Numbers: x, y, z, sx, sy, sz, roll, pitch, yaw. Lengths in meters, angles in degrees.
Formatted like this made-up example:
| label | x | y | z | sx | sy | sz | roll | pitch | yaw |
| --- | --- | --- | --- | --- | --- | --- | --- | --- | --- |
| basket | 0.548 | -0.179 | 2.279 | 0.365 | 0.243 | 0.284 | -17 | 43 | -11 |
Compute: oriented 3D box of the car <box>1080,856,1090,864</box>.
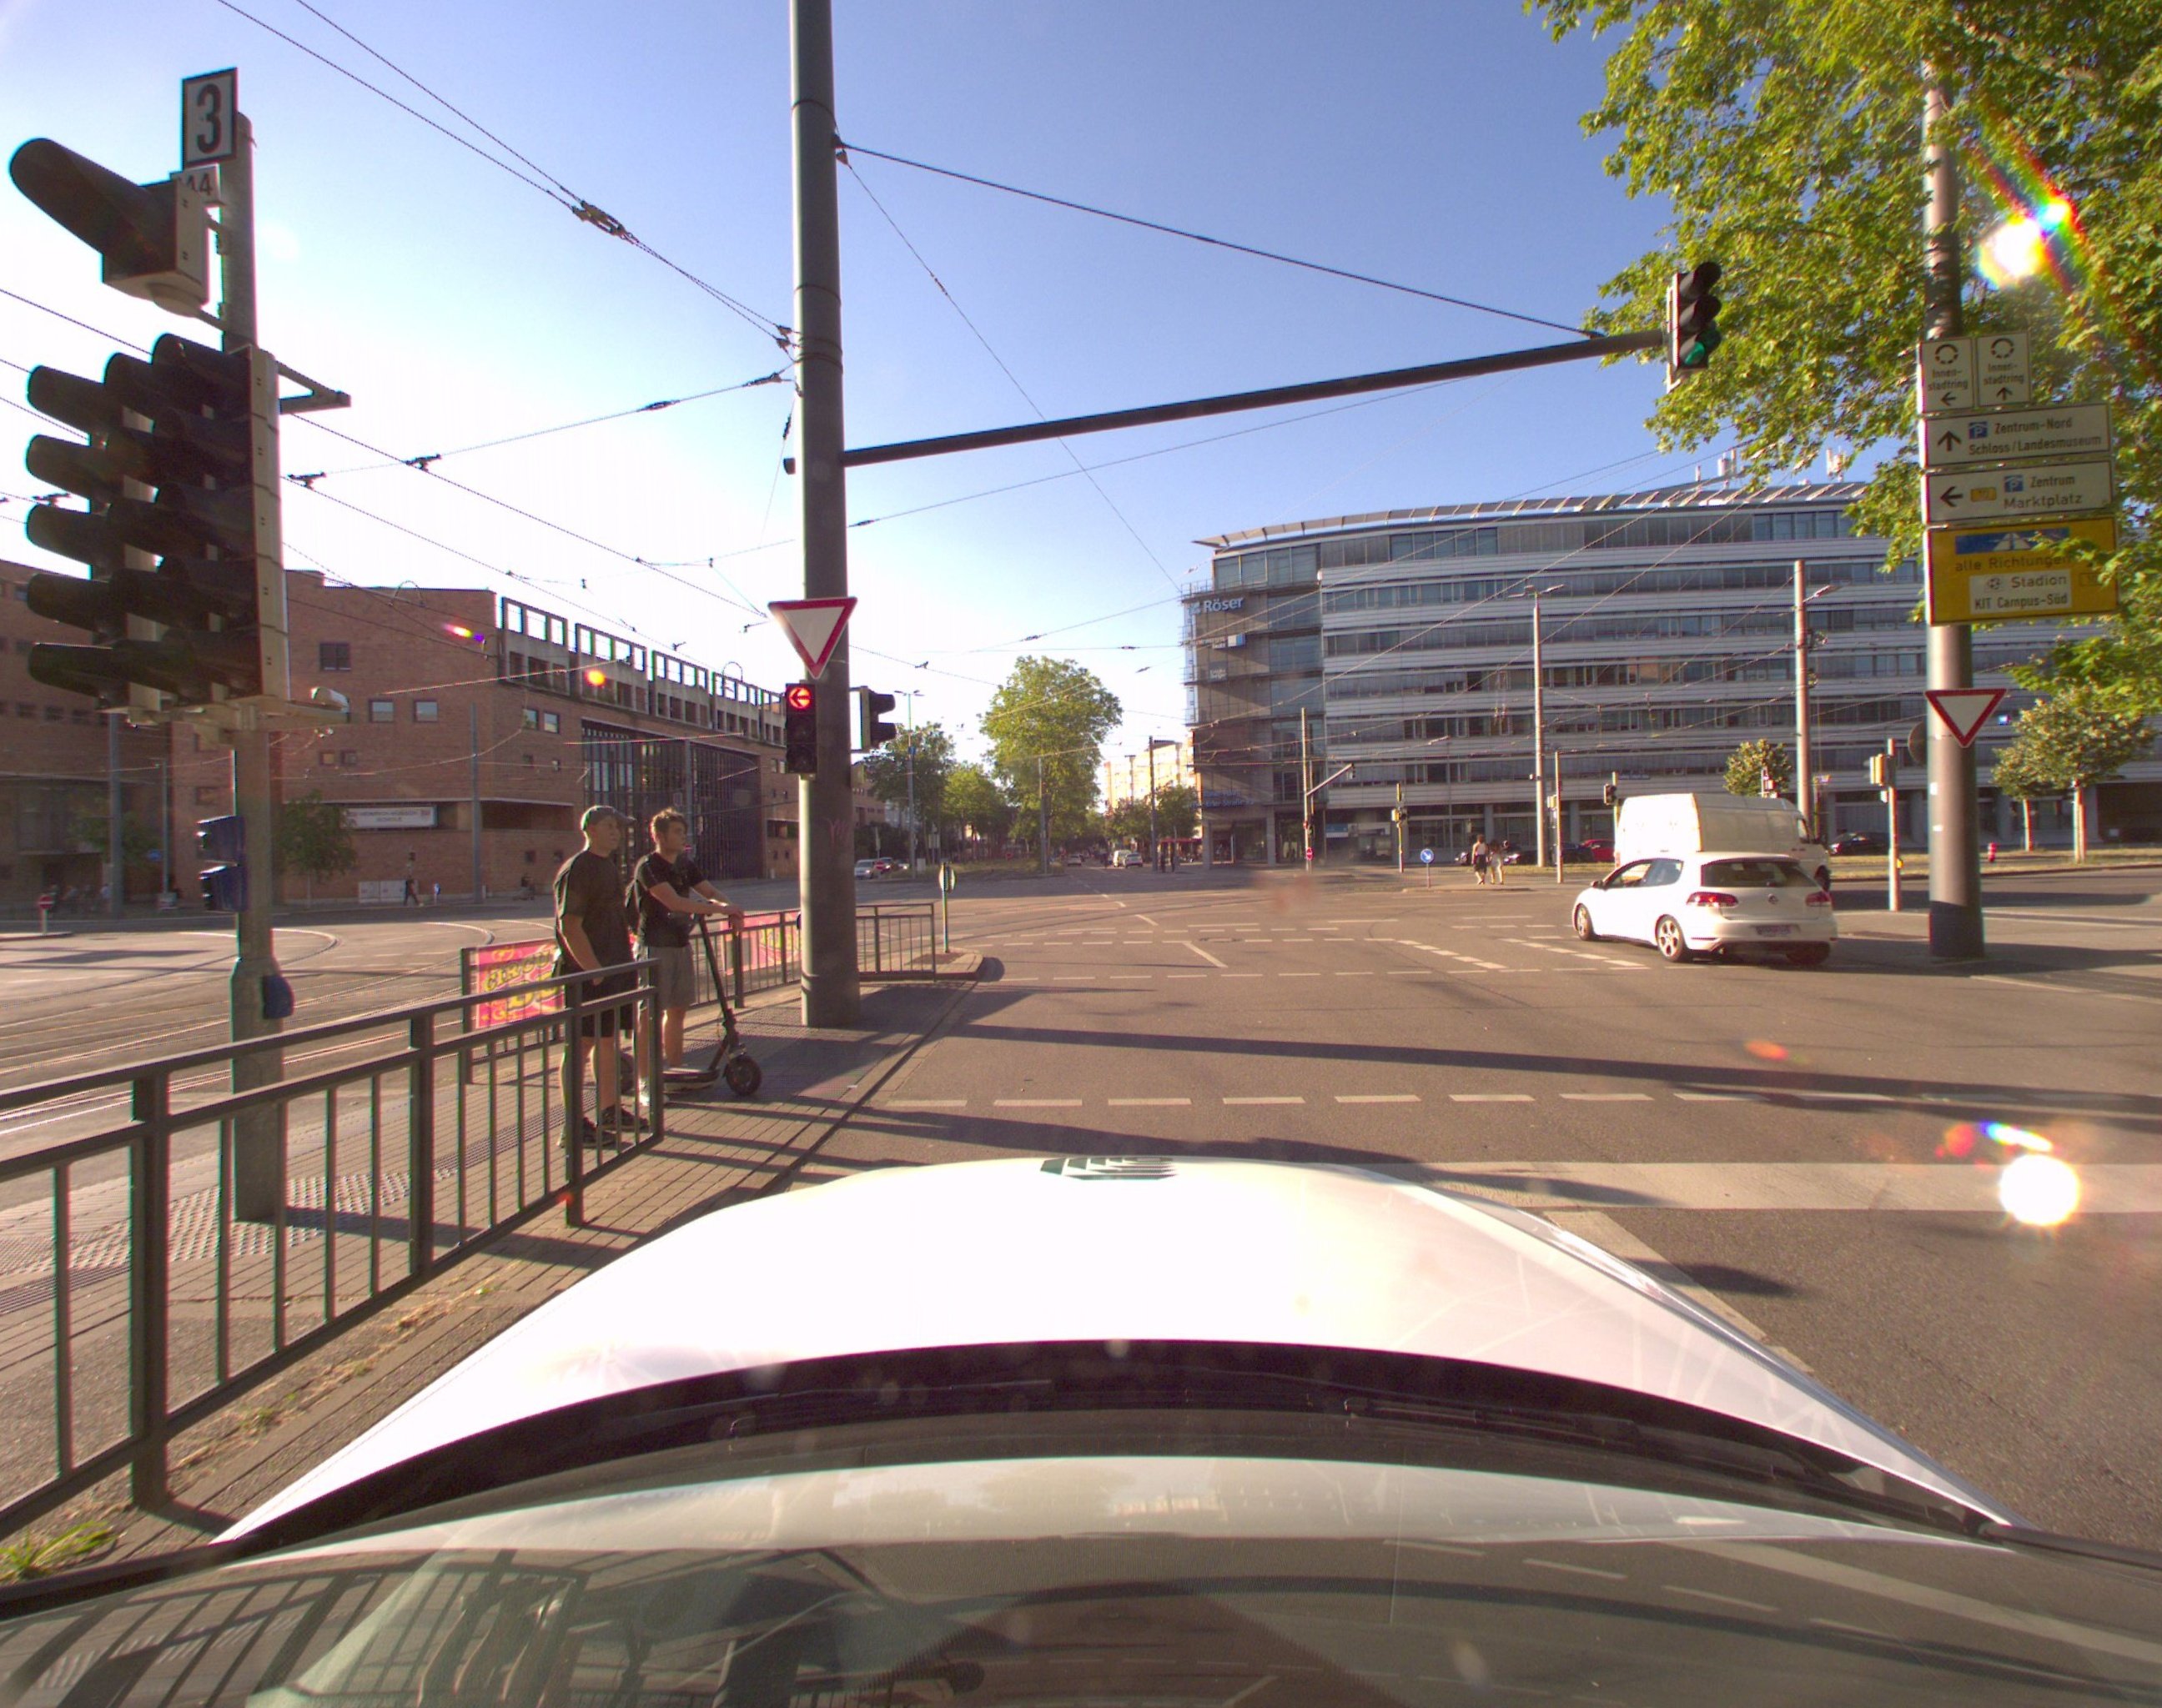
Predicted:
| label | x | y | z | sx | sy | sz | roll | pitch | yaw |
| --- | --- | --- | --- | --- | --- | --- | --- | --- | --- |
| car | 0.747 | 1.157 | 150.841 | 1.759 | 1.404 | 4.293 | -1 | 0 | -2 |

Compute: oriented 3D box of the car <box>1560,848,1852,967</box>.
| label | x | y | z | sx | sy | sz | roll | pitch | yaw |
| --- | --- | --- | --- | --- | --- | --- | --- | --- | --- |
| car | 8.683 | 0.643 | 11.802 | 1.625 | 1.428 | 3.996 | -1 | 0 | 9 |

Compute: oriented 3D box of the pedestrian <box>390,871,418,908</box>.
| label | x | y | z | sx | sy | sz | roll | pitch | yaw |
| --- | --- | --- | --- | --- | --- | --- | --- | --- | --- |
| pedestrian | -35.989 | 1.867 | 43.297 | 0.721 | 1.902 | 0.875 | 0 | -1 | -1 |

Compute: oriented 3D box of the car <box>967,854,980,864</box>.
| label | x | y | z | sx | sy | sz | roll | pitch | yaw |
| --- | --- | --- | --- | --- | --- | --- | --- | --- | --- |
| car | -21.442 | 0.978 | 162.992 | 1.837 | 1.783 | 4.002 | -2 | 0 | 2 |

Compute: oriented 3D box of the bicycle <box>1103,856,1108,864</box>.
| label | x | y | z | sx | sy | sz | roll | pitch | yaw |
| --- | --- | --- | --- | --- | --- | --- | --- | --- | --- |
| bicycle | 2.414 | 0.619 | 80.407 | 0.489 | 0.788 | 1.862 | -1 | 0 | 2 |

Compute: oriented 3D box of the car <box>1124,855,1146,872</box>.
| label | x | y | z | sx | sy | sz | roll | pitch | yaw |
| --- | --- | --- | --- | --- | --- | --- | --- | --- | --- |
| car | 5.481 | 0.954 | 82.828 | 2.022 | 1.596 | 4.001 | 0 | -1 | 2 |

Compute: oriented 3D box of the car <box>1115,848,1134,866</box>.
| label | x | y | z | sx | sy | sz | roll | pitch | yaw |
| --- | --- | --- | --- | --- | --- | --- | --- | --- | --- |
| car | 4.736 | 0.338 | 89.705 | 1.986 | 2.014 | 4.001 | 0 | -1 | 2 |

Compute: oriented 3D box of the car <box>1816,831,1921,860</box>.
| label | x | y | z | sx | sy | sz | roll | pitch | yaw |
| --- | --- | --- | --- | --- | --- | --- | --- | --- | --- |
| car | 45.068 | -0.484 | 46.683 | 4.097 | 1.596 | 1.884 | 0 | -1 | 5 |

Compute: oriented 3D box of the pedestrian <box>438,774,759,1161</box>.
| label | x | y | z | sx | sy | sz | roll | pitch | yaw |
| --- | --- | --- | --- | --- | --- | --- | --- | --- | --- |
| pedestrian | -2.568 | 0.574 | 4.453 | 1.161 | 1.884 | 0.856 | -2 | 0 | 6 |

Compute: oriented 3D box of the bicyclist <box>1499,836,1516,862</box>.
| label | x | y | z | sx | sy | sz | roll | pitch | yaw |
| --- | --- | --- | --- | --- | --- | --- | --- | --- | --- |
| bicyclist | 25.670 | -0.295 | 49.035 | 0.660 | 1.503 | 0.614 | -2 | 0 | 7 |

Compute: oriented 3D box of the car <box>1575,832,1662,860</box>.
| label | x | y | z | sx | sy | sz | roll | pitch | yaw |
| --- | --- | --- | --- | --- | --- | --- | --- | --- | --- |
| car | 32.004 | -0.458 | 48.598 | 3.966 | 1.552 | 1.800 | 0 | -1 | 6 |

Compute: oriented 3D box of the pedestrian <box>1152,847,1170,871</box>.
| label | x | y | z | sx | sy | sz | roll | pitch | yaw |
| --- | --- | --- | --- | --- | --- | --- | --- | --- | --- |
| pedestrian | 6.486 | 0.402 | 65.833 | 1.337 | 1.950 | 1.011 | -2 | -1 | 1 |

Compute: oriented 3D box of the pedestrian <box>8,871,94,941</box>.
| label | x | y | z | sx | sy | sz | roll | pitch | yaw |
| --- | --- | --- | --- | --- | --- | --- | --- | --- | --- |
| pedestrian | -30.955 | 1.537 | 24.497 | 1.029 | 2.014 | 1.208 | 0 | -1 | 1 |

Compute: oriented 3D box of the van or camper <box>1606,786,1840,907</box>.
| label | x | y | z | sx | sy | sz | roll | pitch | yaw |
| --- | --- | --- | --- | --- | --- | --- | --- | --- | --- |
| van or camper | 15.825 | -0.240 | 19.955 | 6.514 | 2.614 | 1.988 | -2 | 0 | -28 |

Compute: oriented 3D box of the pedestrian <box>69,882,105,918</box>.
| label | x | y | z | sx | sy | sz | roll | pitch | yaw |
| --- | --- | --- | --- | --- | --- | --- | --- | --- | --- |
| pedestrian | -57.801 | 2.673 | 47.371 | 1.003 | 2.052 | 0.850 | -2 | 0 | -1 |

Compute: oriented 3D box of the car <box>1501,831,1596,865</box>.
| label | x | y | z | sx | sy | sz | roll | pitch | yaw |
| --- | --- | --- | --- | --- | --- | --- | --- | --- | --- |
| car | 26.506 | -0.326 | 46.251 | 4.234 | 1.723 | 1.886 | -2 | 0 | 4 |

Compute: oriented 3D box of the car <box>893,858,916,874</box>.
| label | x | y | z | sx | sy | sz | roll | pitch | yaw |
| --- | --- | --- | --- | --- | --- | --- | --- | --- | --- |
| car | -18.062 | 1.191 | 83.392 | 1.673 | 1.607 | 3.994 | 0 | -1 | -4 |

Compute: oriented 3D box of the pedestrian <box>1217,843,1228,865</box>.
| label | x | y | z | sx | sy | sz | roll | pitch | yaw |
| --- | --- | --- | --- | --- | --- | --- | --- | --- | --- |
| pedestrian | 12.608 | 0.006 | 72.615 | 0.866 | 2.014 | 0.794 | 0 | -2 | 1 |

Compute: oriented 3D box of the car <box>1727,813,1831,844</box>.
| label | x | y | z | sx | sy | sz | roll | pitch | yaw |
| --- | --- | --- | --- | --- | --- | --- | --- | --- | --- |
| car | 38.053 | -1.389 | 44.500 | 3.968 | 1.596 | 1.884 | 0 | -1 | 5 |

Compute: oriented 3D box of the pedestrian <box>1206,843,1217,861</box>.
| label | x | y | z | sx | sy | sz | roll | pitch | yaw |
| --- | --- | --- | --- | --- | --- | --- | --- | --- | --- |
| pedestrian | 16.242 | -0.254 | 101.253 | 1.305 | 2.190 | 1.173 | 0 | -1 | 8 |

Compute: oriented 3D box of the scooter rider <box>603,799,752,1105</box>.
| label | x | y | z | sx | sy | sz | roll | pitch | yaw |
| --- | --- | --- | --- | --- | --- | --- | --- | --- | --- |
| scooter rider | -2.617 | 0.609 | 5.327 | 0.563 | 1.853 | 0.681 | -2 | -2 | 6 |

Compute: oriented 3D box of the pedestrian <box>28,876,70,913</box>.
| label | x | y | z | sx | sy | sz | roll | pitch | yaw |
| --- | --- | --- | --- | --- | --- | --- | --- | --- | --- |
| pedestrian | -58.561 | 2.309 | 46.225 | 1.155 | 2.013 | 0.910 | -2 | 0 | -2 |

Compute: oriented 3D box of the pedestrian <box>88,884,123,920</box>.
| label | x | y | z | sx | sy | sz | roll | pitch | yaw |
| --- | --- | --- | --- | --- | --- | --- | --- | --- | --- |
| pedestrian | -58.611 | 2.874 | 48.938 | 1.003 | 2.052 | 0.850 | -2 | 0 | -1 |

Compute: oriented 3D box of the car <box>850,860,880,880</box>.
| label | x | y | z | sx | sy | sz | roll | pitch | yaw |
| --- | --- | --- | --- | --- | --- | --- | --- | --- | --- |
| car | -17.949 | 1.311 | 67.894 | 1.618 | 1.577 | 3.994 | -2 | 0 | -4 |

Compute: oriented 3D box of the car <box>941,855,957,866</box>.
| label | x | y | z | sx | sy | sz | roll | pitch | yaw |
| --- | --- | --- | --- | --- | --- | --- | --- | --- | --- |
| car | -23.556 | 1.174 | 145.358 | 1.903 | 1.783 | 4.002 | -2 | 0 | 2 |

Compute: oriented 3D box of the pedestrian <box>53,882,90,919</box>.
| label | x | y | z | sx | sy | sz | roll | pitch | yaw |
| --- | --- | --- | --- | --- | --- | --- | --- | --- | --- |
| pedestrian | -58.736 | 2.684 | 47.378 | 1.003 | 2.052 | 0.850 | -2 | 0 | -1 |

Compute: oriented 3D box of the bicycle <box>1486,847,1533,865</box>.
| label | x | y | z | sx | sy | sz | roll | pitch | yaw |
| --- | --- | --- | --- | --- | --- | --- | --- | --- | --- |
| bicycle | 25.779 | 0.126 | 49.028 | 2.397 | 1.022 | 0.638 | -2 | 0 | 6 |

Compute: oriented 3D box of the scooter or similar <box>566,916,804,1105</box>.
| label | x | y | z | sx | sy | sz | roll | pitch | yaw |
| --- | --- | --- | --- | --- | --- | --- | --- | --- | --- |
| scooter or similar | -2.543 | 0.990 | 5.312 | 1.196 | 1.081 | 0.649 | -2 | 0 | 5 |

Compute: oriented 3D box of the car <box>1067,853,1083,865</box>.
| label | x | y | z | sx | sy | sz | roll | pitch | yaw |
| --- | --- | --- | --- | --- | --- | --- | --- | --- | --- |
| car | -0.805 | 0.677 | 104.517 | 1.740 | 1.418 | 4.004 | -1 | 1 | 4 |

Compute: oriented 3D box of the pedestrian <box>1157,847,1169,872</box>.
| label | x | y | z | sx | sy | sz | roll | pitch | yaw |
| --- | --- | --- | --- | --- | --- | --- | --- | --- | --- |
| pedestrian | 6.469 | 0.423 | 64.310 | 0.847 | 2.014 | 0.707 | 0 | -1 | -3 |

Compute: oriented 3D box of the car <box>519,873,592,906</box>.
| label | x | y | z | sx | sy | sz | roll | pitch | yaw |
| --- | --- | --- | --- | --- | --- | --- | --- | --- | --- |
| car | -36.566 | 2.412 | 56.847 | 1.983 | 2.013 | 4.200 | -2 | 0 | 6 |

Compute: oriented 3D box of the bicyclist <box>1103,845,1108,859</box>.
| label | x | y | z | sx | sy | sz | roll | pitch | yaw |
| --- | --- | --- | --- | --- | --- | --- | --- | --- | --- |
| bicyclist | 2.395 | -0.182 | 80.370 | 0.485 | 1.439 | 0.616 | 0 | -1 | 1 |

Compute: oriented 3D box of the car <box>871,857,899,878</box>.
| label | x | y | z | sx | sy | sz | roll | pitch | yaw |
| --- | --- | --- | --- | --- | --- | --- | --- | --- | --- |
| car | -18.163 | 1.218 | 75.660 | 1.819 | 1.790 | 3.994 | -2 | 0 | -4 |

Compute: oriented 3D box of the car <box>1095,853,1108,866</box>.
| label | x | y | z | sx | sy | sz | roll | pitch | yaw |
| --- | --- | --- | --- | --- | --- | --- | --- | --- | --- |
| car | 3.215 | 0.865 | 126.748 | 1.986 | 2.014 | 4.001 | 0 | -1 | 2 |

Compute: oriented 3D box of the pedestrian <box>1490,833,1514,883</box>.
| label | x | y | z | sx | sy | sz | roll | pitch | yaw |
| --- | --- | --- | --- | --- | --- | --- | --- | --- | --- |
| pedestrian | 15.051 | 0.135 | 29.129 | 0.677 | 1.759 | 0.746 | -2 | 0 | 25 |

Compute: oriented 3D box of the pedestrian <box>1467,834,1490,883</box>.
| label | x | y | z | sx | sy | sz | roll | pitch | yaw |
| --- | --- | --- | --- | --- | --- | --- | --- | --- | --- |
| pedestrian | 14.378 | 0.155 | 29.475 | 0.671 | 1.759 | 0.746 | -2 | 0 | 27 |

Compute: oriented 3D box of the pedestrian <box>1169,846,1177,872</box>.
| label | x | y | z | sx | sy | sz | roll | pitch | yaw |
| --- | --- | --- | --- | --- | --- | --- | --- | --- | --- |
| pedestrian | 7.114 | 0.380 | 62.793 | 0.584 | 2.014 | 0.620 | 0 | -1 | 2 |

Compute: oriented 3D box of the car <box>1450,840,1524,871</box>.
| label | x | y | z | sx | sy | sz | roll | pitch | yaw |
| --- | --- | --- | --- | --- | --- | --- | --- | --- | --- |
| car | 27.246 | 0.091 | 54.717 | 3.972 | 2.014 | 2.001 | 0 | -1 | 2 |
